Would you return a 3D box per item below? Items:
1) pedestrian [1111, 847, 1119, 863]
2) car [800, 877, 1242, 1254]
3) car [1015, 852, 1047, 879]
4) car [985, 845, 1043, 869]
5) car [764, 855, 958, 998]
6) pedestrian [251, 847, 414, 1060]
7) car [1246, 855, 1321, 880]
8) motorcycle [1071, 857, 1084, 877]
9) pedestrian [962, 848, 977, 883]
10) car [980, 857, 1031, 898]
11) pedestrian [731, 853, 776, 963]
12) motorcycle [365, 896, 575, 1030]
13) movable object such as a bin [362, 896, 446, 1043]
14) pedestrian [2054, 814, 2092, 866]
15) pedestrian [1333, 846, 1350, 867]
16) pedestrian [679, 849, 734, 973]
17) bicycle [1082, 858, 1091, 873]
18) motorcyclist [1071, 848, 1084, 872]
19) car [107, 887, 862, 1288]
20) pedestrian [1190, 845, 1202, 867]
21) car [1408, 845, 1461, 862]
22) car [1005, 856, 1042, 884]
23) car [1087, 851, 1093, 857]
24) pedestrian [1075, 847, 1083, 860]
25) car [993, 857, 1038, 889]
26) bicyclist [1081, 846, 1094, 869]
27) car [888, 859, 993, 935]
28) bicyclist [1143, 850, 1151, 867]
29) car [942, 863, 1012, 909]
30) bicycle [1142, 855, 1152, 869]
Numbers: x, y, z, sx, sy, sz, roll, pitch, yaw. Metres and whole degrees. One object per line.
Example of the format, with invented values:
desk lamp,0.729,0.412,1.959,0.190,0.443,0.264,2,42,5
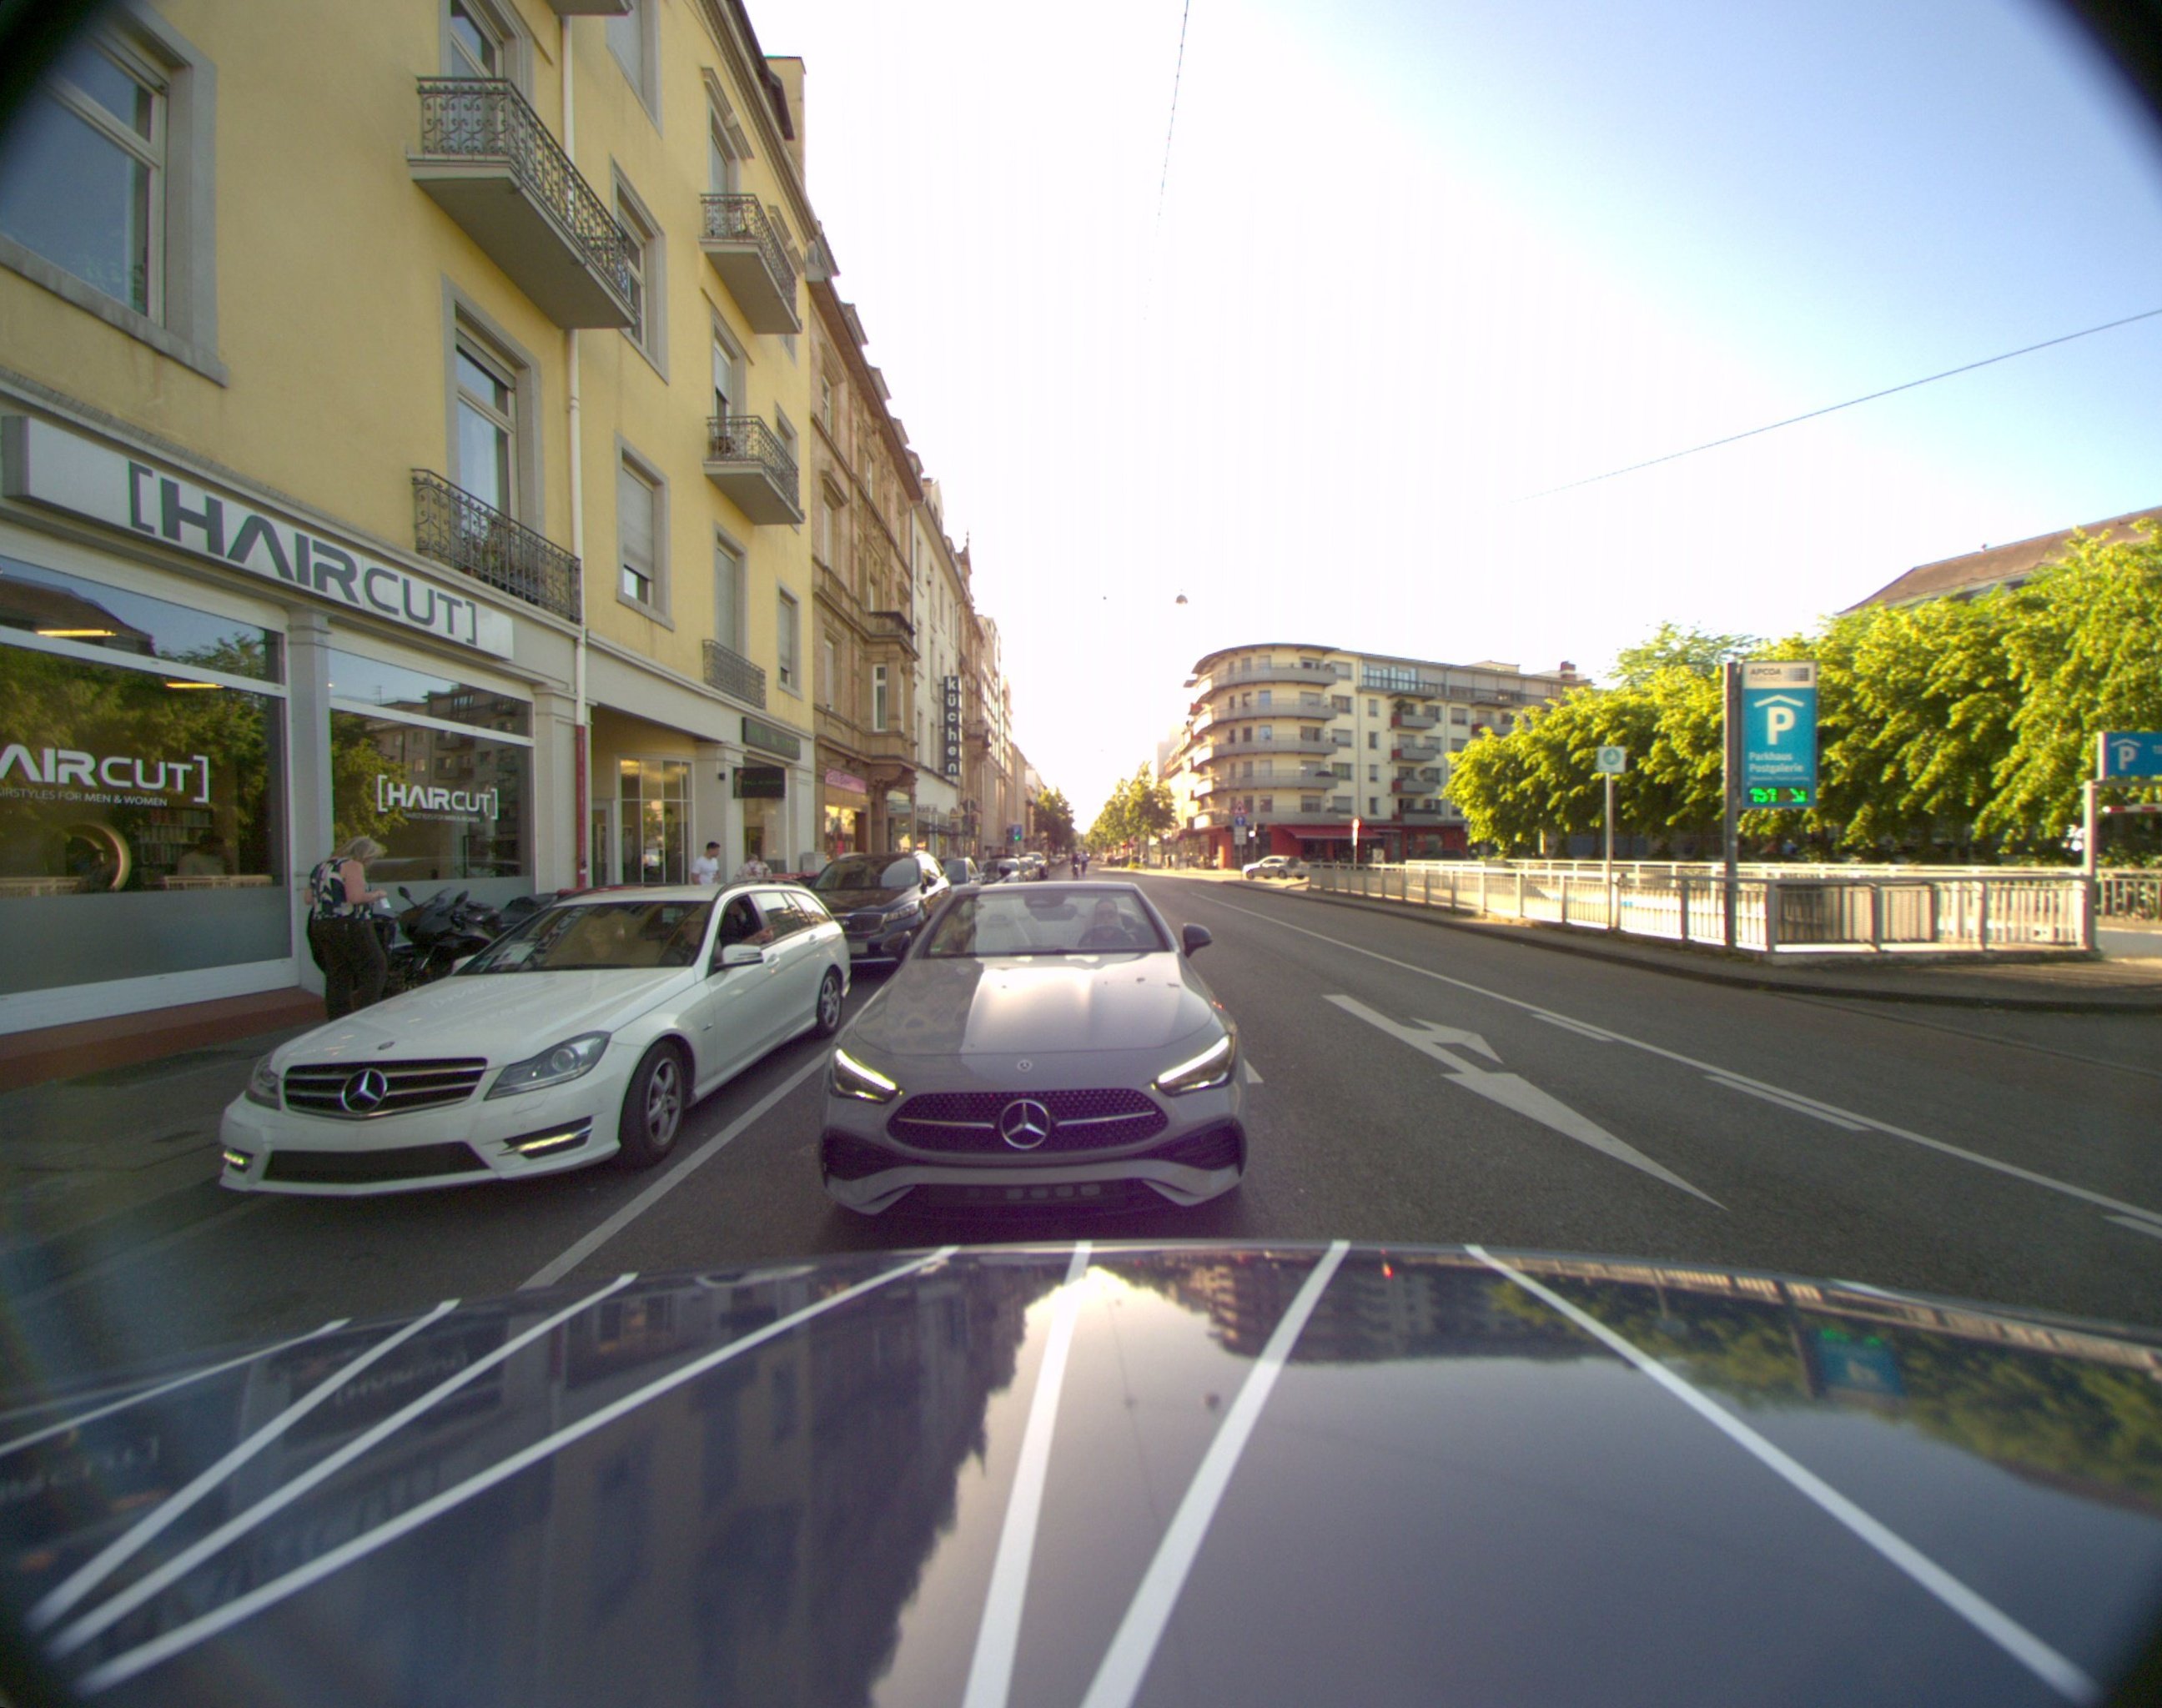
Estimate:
pedestrian,4.245,0.109,95.182,0.860,2.002,0.889,-2,1,1
car,-0.249,0.953,5.191,1.802,1.351,3.999,-2,1,0
car,-3.086,0.697,47.714,1.725,1.506,4.004,-2,1,-1
car,-4.930,0.189,55.656,4.000,1.543,1.856,-2,1,-9
car,-3.016,0.878,11.381,1.803,1.629,4.243,-2,1,-3
pedestrian,-6.070,0.768,6.199,0.719,1.644,0.606,1,1,1
car,12.244,0.785,46.165,1.828,1.346,4.253,0,1,-32
motorcycle,-0.222,0.798,47.068,0.720,1.177,1.906,-2,1,2
pedestrian,-6.000,0.613,40.910,0.574,1.840,0.665,-2,1,1
car,-2.974,0.908,30.716,1.660,1.423,4.085,-2,1,-1
pedestrian,-5.724,0.909,13.261,0.576,1.840,0.663,-3,1,-30
motorcycle,-6.206,1.043,7.881,0.567,1.072,1.954,2,1,1
movable object such as a bin,-5.970,1.003,6.711,0.391,1.231,0.394,1,1,1
pedestrian,33.509,-0.464,25.663,0.647,1.711,0.607,-3,1,-19
pedestrian,20.039,0.169,58.380,0.863,1.586,0.887,-3,1,-38
pedestrian,-6.176,0.913,12.550,0.373,1.971,0.695,0,1,23
bicycle,0.403,0.820,54.571,0.640,1.078,2.061,-1,0,0
motorcyclist,-0.240,0.350,47.006,0.722,1.438,0.705,-2,1,2
car,-3.069,1.054,5.295,1.704,1.351,4.378,-2,1,1
pedestrian,10.297,0.180,68.276,0.860,2.002,0.889,-2,1,0
car,29.056,-0.049,62.446,4.004,1.294,1.753,-2,1,-23
car,-3.077,0.832,41.407,1.725,1.332,3.668,-2,1,-1
car,2.483,-0.129,203.152,1.615,1.534,3.931,-1,0,1
pedestrian,-0.304,-0.048,127.164,1.205,2.153,1.280,-2,1,1
car,-3.121,0.888,36.847,1.802,1.332,3.838,-2,1,-1
bicyclist,0.470,0.255,54.594,0.885,1.625,0.768,-2,1,0
car,-3.290,0.943,18.562,1.802,1.518,4.085,-2,1,-1
bicyclist,5.956,0.423,68.572,0.525,1.539,0.798,-2,1,-6
car,-3.394,1.008,25.573,1.802,1.259,4.085,-2,1,-1
bicycle,5.963,0.700,68.628,0.527,1.163,1.592,-2,1,-5
